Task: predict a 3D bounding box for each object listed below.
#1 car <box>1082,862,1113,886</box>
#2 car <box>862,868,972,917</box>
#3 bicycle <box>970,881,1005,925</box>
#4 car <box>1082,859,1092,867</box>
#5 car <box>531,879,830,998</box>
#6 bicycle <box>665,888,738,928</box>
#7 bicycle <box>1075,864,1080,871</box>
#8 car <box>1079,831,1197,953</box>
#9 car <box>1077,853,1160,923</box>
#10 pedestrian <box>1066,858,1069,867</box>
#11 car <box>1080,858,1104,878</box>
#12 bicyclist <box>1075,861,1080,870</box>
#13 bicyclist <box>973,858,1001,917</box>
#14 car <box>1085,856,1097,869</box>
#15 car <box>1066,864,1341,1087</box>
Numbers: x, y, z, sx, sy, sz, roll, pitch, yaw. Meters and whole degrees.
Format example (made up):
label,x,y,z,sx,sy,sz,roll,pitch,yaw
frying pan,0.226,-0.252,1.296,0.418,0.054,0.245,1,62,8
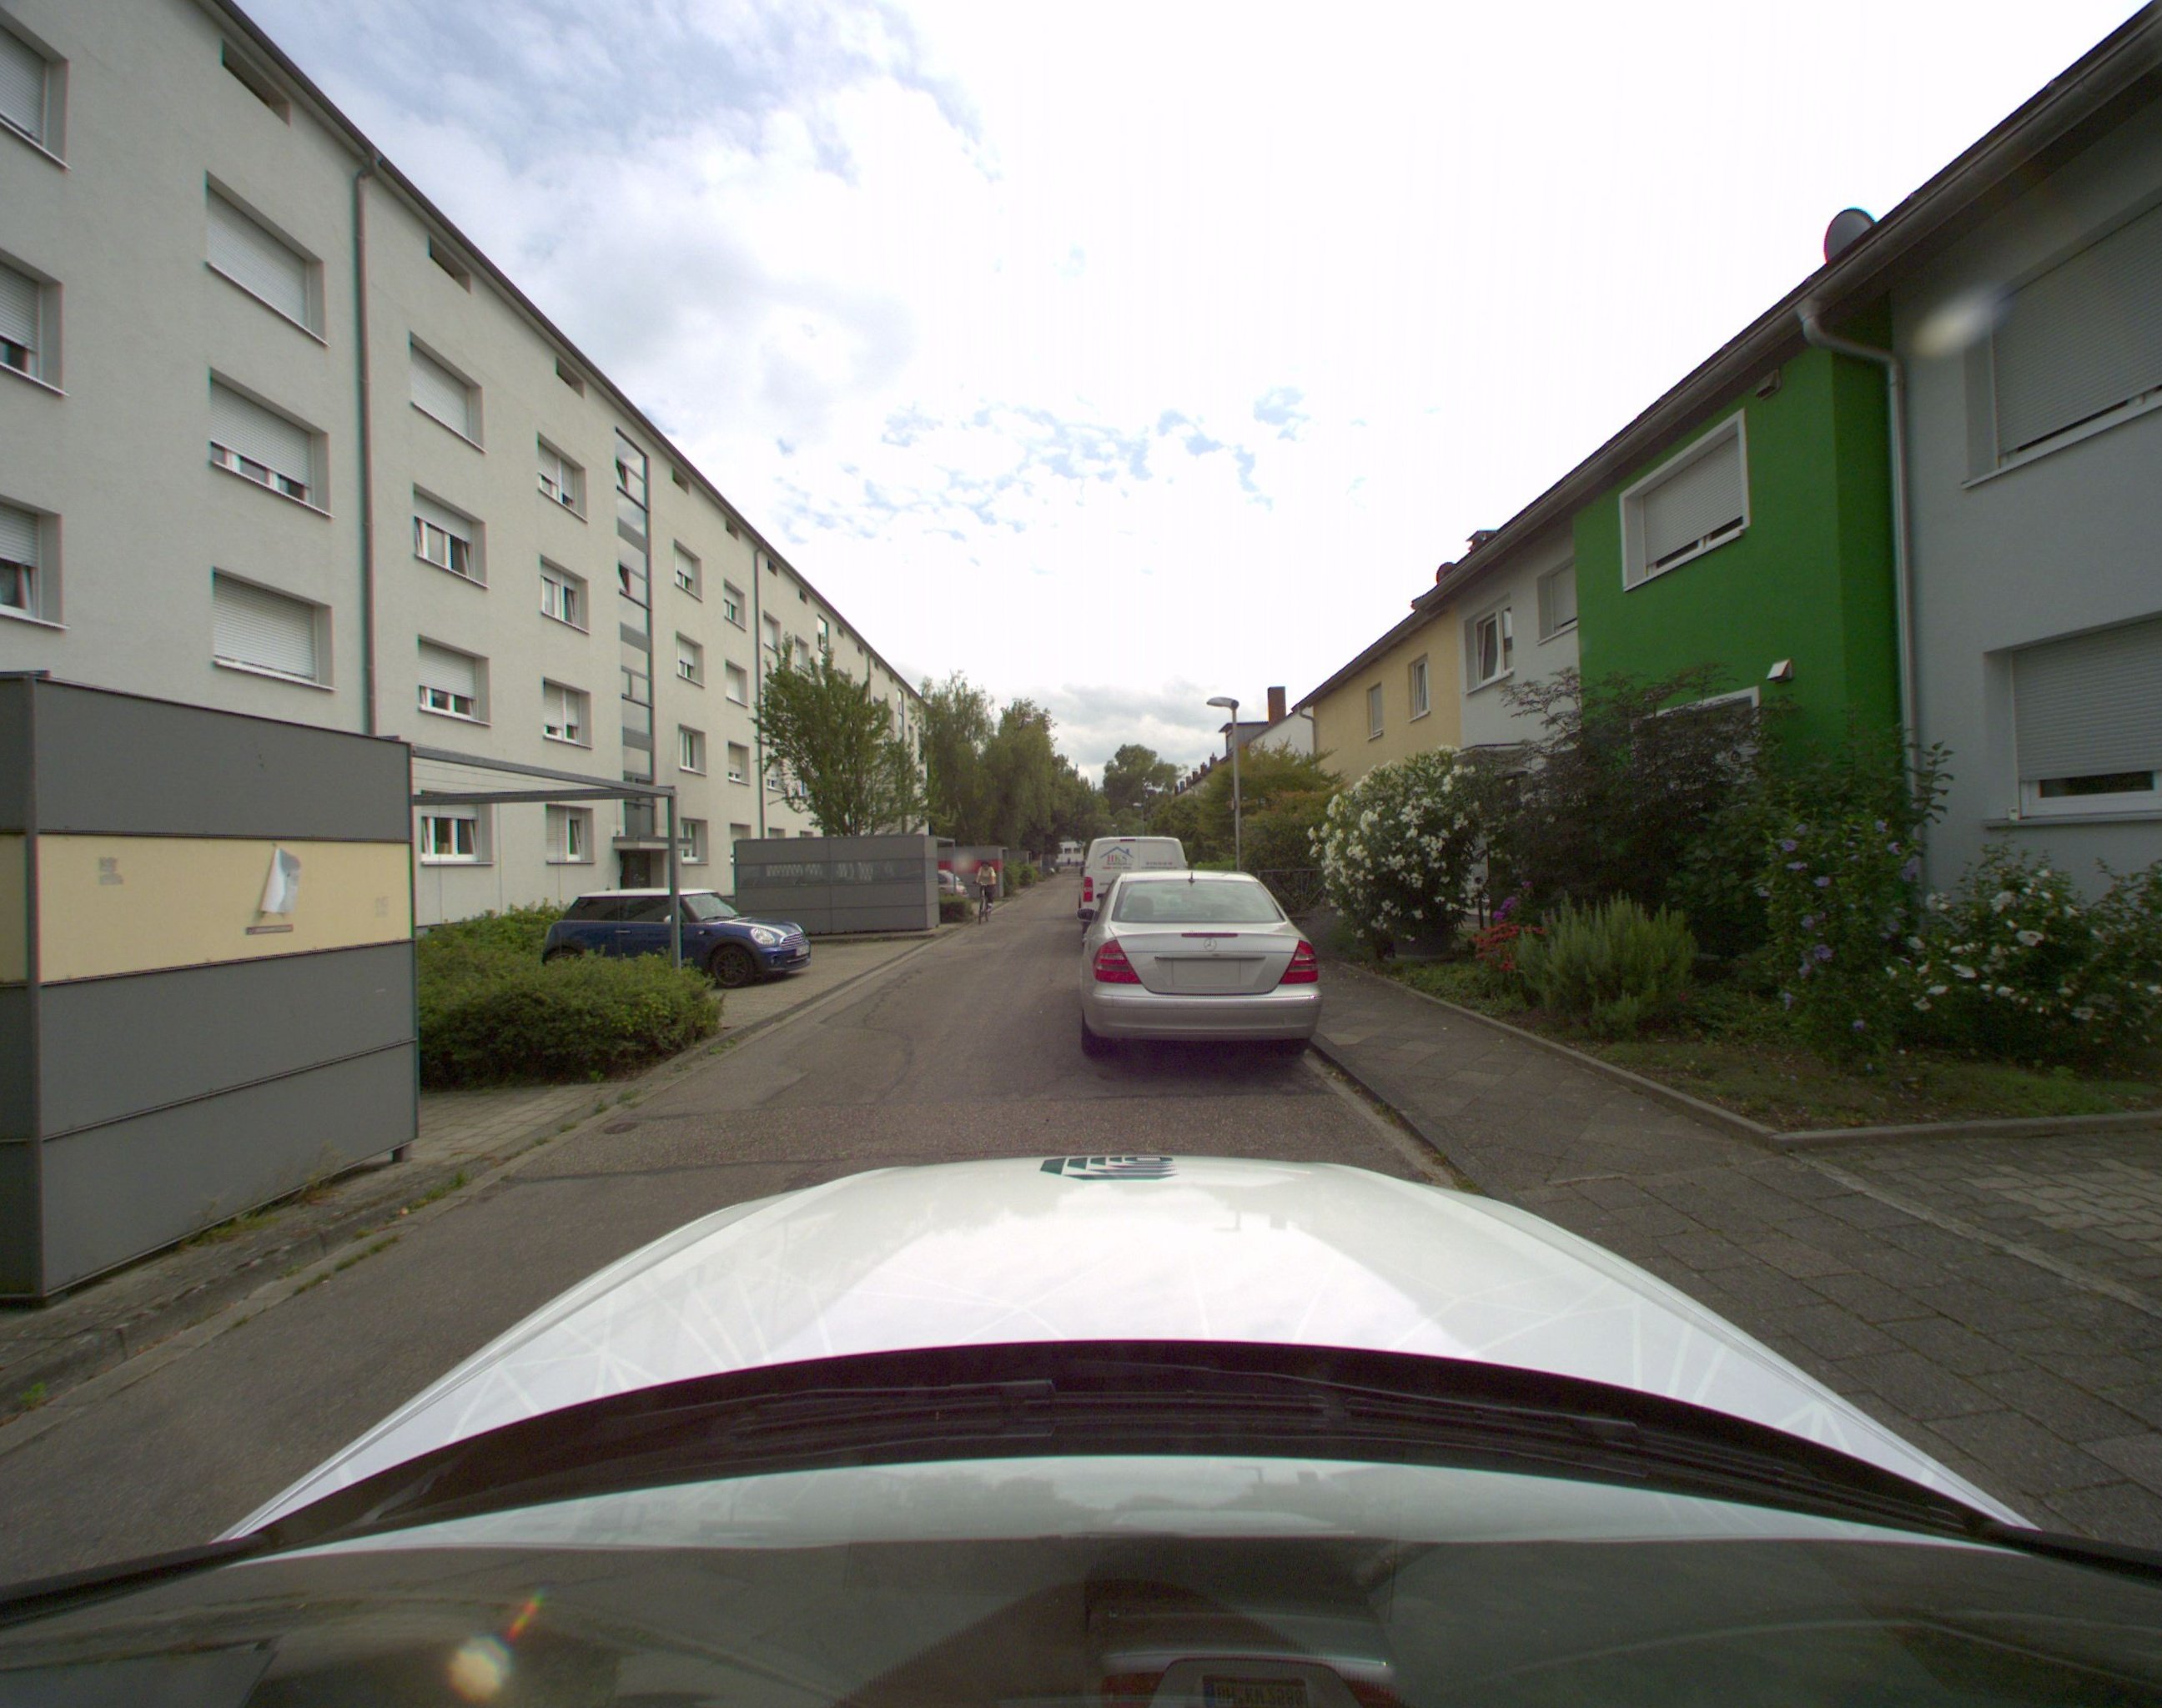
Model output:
label,x,y,z,sx,sy,sz,roll,pitch,yaw
car,0.980,1.198,49.325,1.819,1.370,4.331,0,0,1
car,-5.806,1.338,29.169,3.555,1.480,1.708,-3,0,-5
bicycle,-2.570,1.323,22.551,0.595,1.076,2.043,-3,-1,2
car,1.231,1.791,165.595,1.819,1.581,4.000,0,0,1
car,-5.903,1.220,12.267,3.619,1.461,1.654,-3,-1,3
bicycle,-11.007,1.560,23.664,1.820,1.024,0.473,-2,-1,-41
bicycle,-0.639,2.397,143.997,0.686,1.131,2.580,0,-1,2
car,0.918,0.643,15.893,1.898,1.964,5.252,-1,-1,0
car,0.880,0.835,21.592,1.820,1.636,4.158,-1,-1,-3
pedestrian,-2.788,1.757,169.424,0.774,1.805,0.547,0,-1,-1
car,0.901,1.135,67.990,1.820,1.581,3.998,0,0,-1
bicyclist,-0.639,2.073,143.986,0.795,1.511,0.934,0,-1,2
bicyclist,-2.595,0.920,22.523,0.595,1.581,0.767,-3,-1,1
car,1.496,1.324,124.581,1.819,1.883,4.000,0,0,1
car,0.873,0.821,7.552,1.777,1.421,4.457,-1,-1,2
